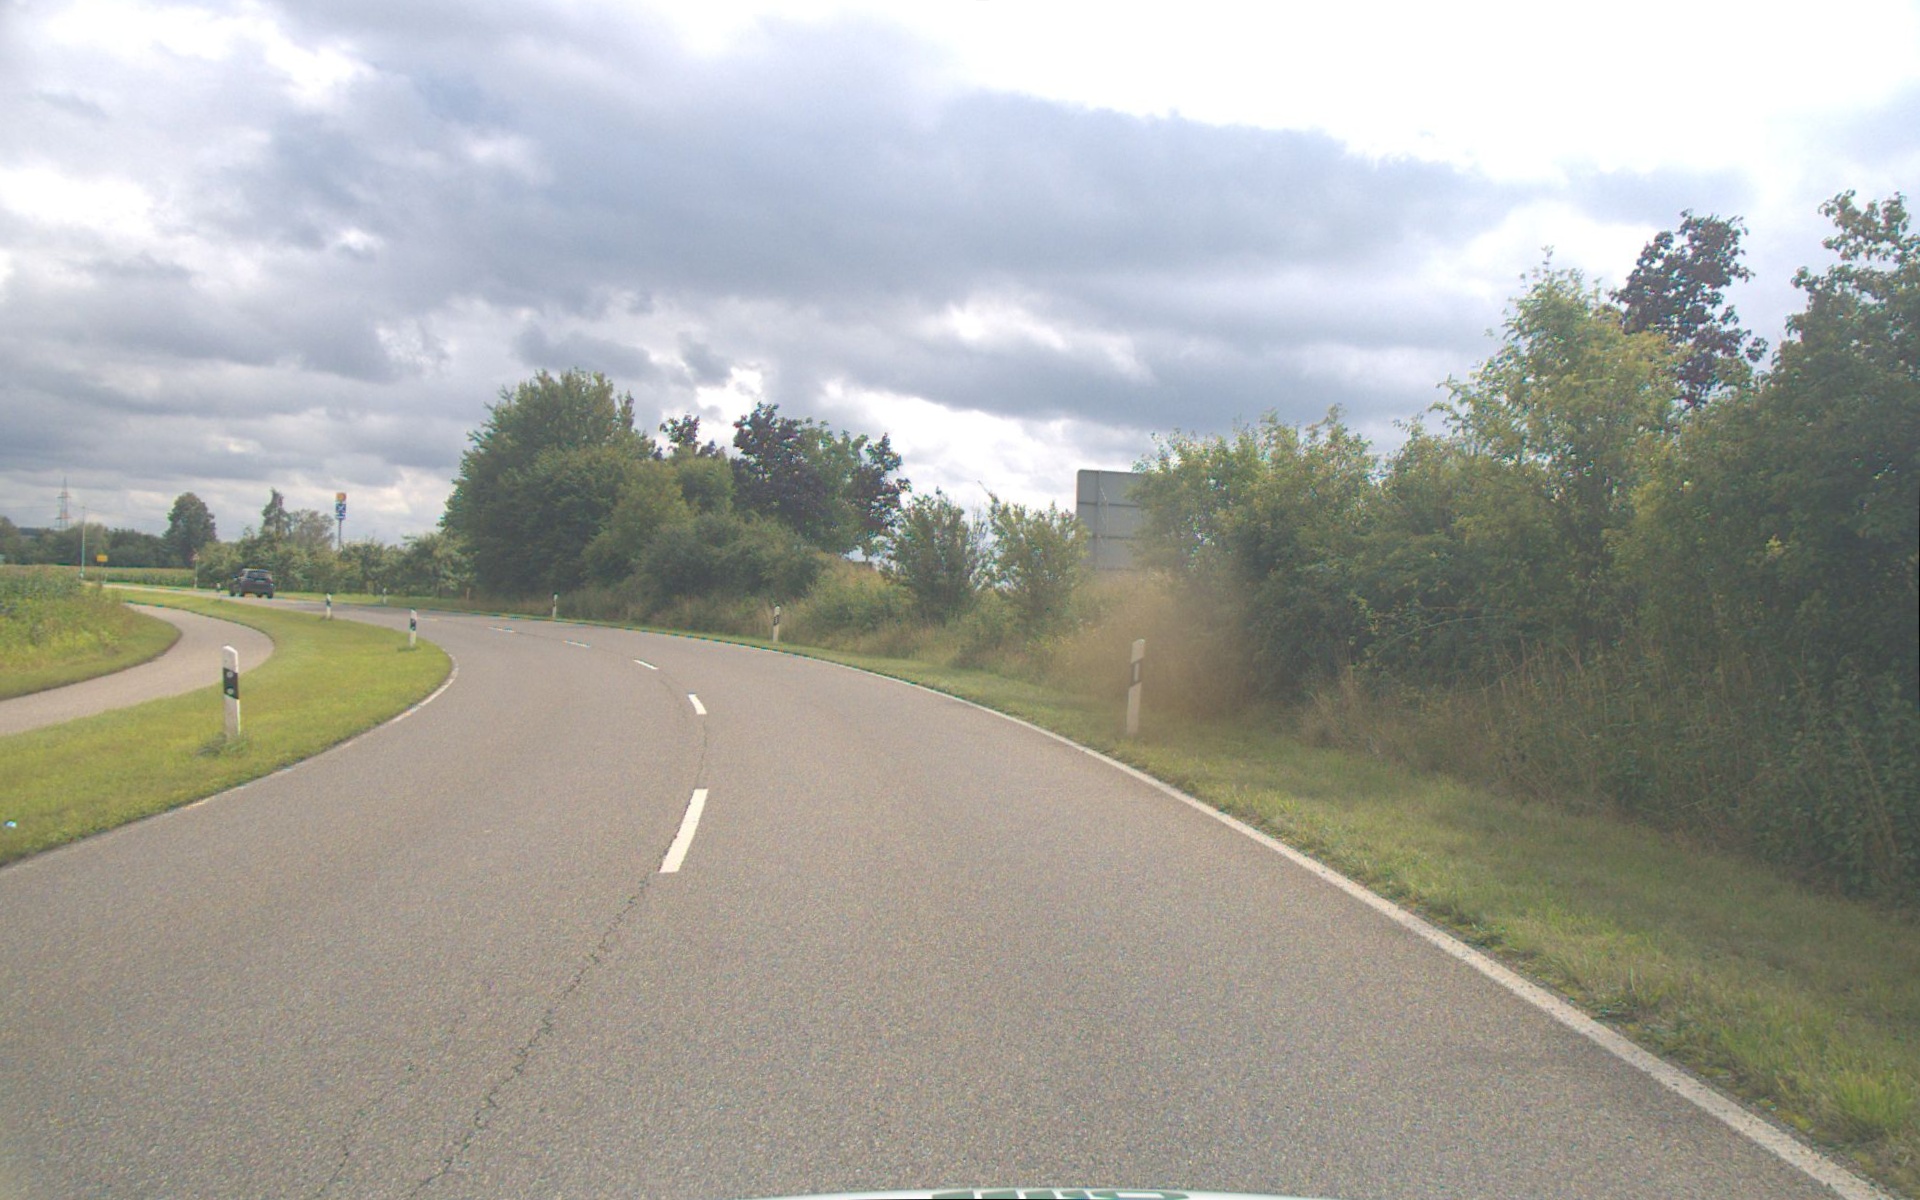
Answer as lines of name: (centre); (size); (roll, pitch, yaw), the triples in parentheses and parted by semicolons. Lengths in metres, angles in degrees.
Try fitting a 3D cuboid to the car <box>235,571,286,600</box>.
car: (-42.351, -0.886, 100.076); (1.893, 1.695, 3.946); (1, 0, -38)
